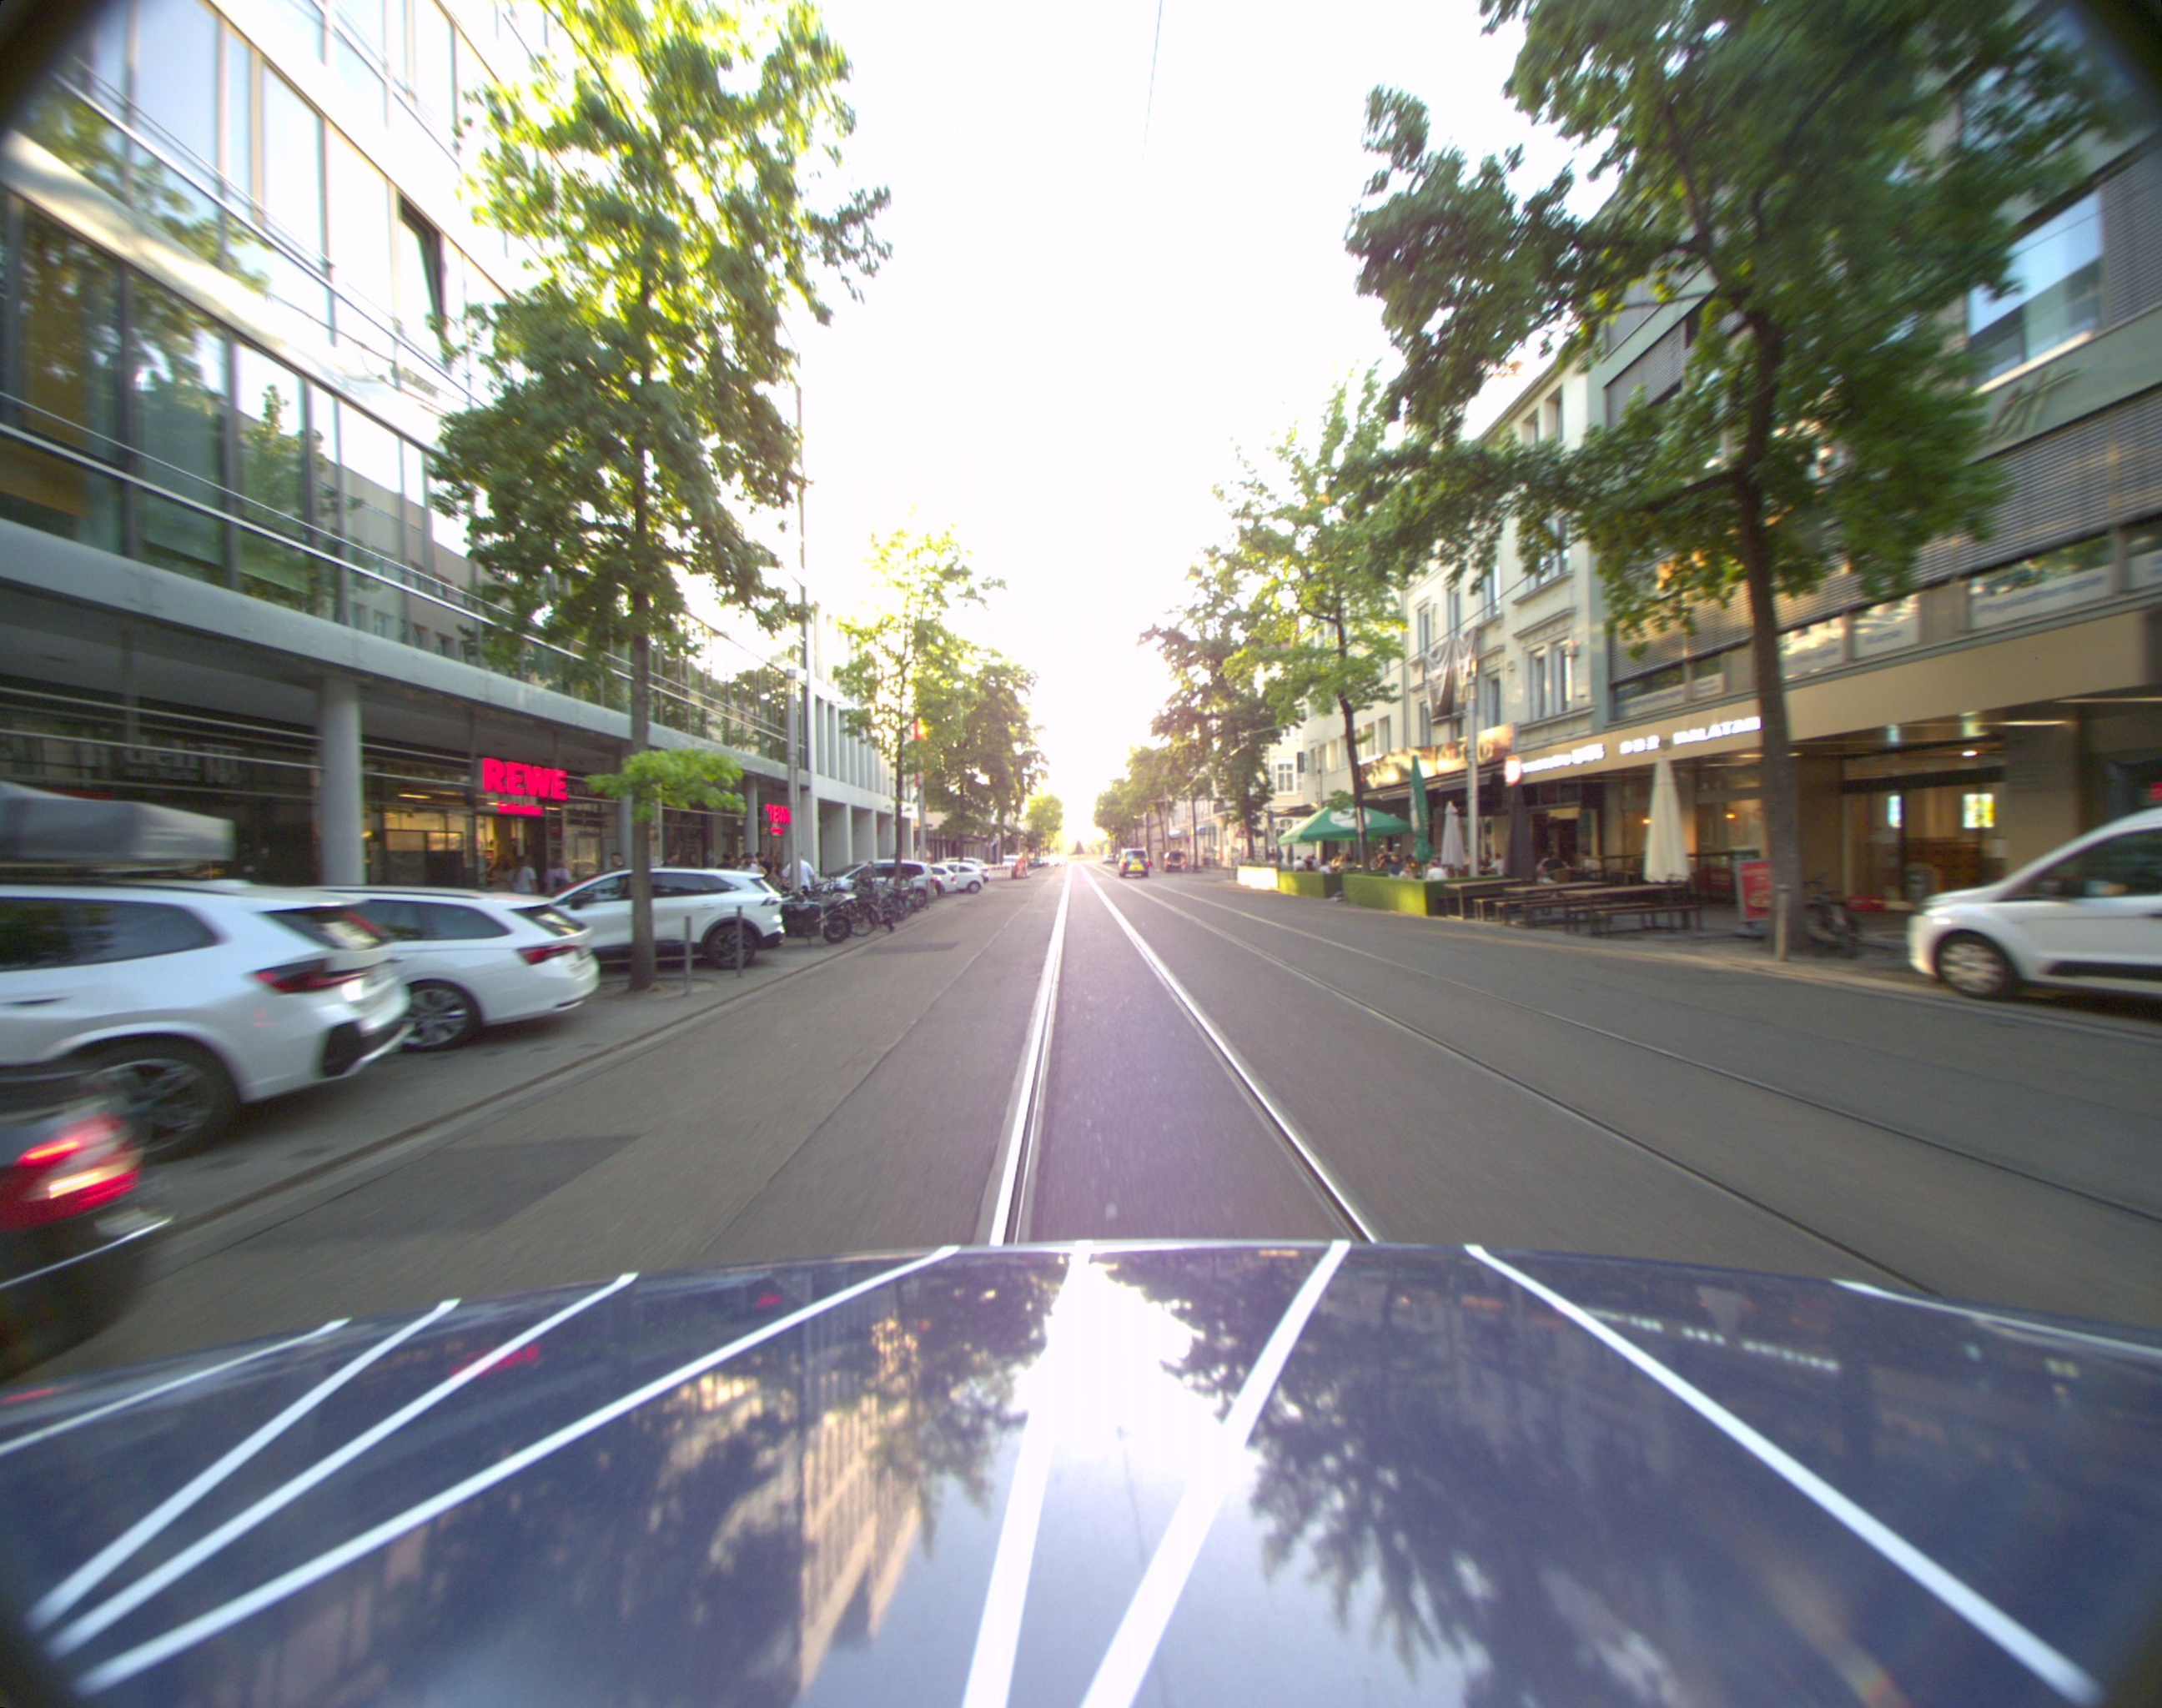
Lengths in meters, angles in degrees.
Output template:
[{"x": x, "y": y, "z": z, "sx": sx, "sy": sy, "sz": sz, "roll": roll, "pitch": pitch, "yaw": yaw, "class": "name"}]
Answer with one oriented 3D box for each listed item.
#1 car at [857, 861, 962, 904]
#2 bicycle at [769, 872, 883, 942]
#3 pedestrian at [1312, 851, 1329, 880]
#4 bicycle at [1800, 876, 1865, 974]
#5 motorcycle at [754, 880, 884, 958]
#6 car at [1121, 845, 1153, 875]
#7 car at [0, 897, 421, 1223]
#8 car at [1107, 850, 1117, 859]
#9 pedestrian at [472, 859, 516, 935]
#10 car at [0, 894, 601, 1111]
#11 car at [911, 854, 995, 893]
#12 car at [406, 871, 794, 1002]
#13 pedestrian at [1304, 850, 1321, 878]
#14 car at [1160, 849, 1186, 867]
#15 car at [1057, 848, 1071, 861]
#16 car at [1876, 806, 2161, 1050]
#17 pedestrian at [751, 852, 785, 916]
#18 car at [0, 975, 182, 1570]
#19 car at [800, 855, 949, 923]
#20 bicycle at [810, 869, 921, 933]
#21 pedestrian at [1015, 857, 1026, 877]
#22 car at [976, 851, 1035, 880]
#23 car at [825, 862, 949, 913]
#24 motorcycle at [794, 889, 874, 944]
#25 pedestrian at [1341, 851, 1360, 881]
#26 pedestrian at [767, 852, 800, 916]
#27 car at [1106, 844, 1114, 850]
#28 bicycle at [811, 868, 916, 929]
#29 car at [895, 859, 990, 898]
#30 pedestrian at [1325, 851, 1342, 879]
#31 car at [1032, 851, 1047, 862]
[{"x": -7.389, "y": 1.210, "z": 32.847, "sx": 4.005, "sy": 1.501, "sz": 1.796, "roll": -4, "pitch": 1, "yaw": -30, "class": "car"}, {"x": -6.183, "y": 1.254, "z": 18.481, "sx": 2.492, "sy": 1.448, "sz": 0.656, "roll": -4, "pitch": 1, "yaw": -25, "class": "bicycle"}, {"x": 12.287, "y": 0.591, "z": 39.030, "sx": 0.650, "sy": 1.451, "sz": 0.650, "roll": -1, "pitch": 1, "yaw": -2, "class": "pedestrian"}, {"x": 9.808, "y": 0.870, "z": 9.902, "sx": 1.803, "sy": 1.101, "sz": 0.499, "roll": -2, "pitch": 1, "yaw": -42, "class": "bicycle"}, {"x": -5.100, "y": 1.213, "z": 14.886, "sx": 1.153, "sy": 1.346, "sz": 2.115, "roll": 1, "pitch": 0, "yaw": 41, "class": "motorcycle"}, {"x": 3.914, "y": 0.406, "z": 53.743, "sx": 1.998, "sy": 2.002, "sz": 4.000, "roll": -1, "pitch": 0, "yaw": 0, "class": "car"}, {"x": -6.936, "y": 1.112, "z": 4.241, "sx": 4.646, "sy": 1.619, "sz": 1.914, "roll": 1, "pitch": -2, "yaw": -32, "class": "car"}, {"x": 5.662, "y": 0.072, "z": 139.582, "sx": 1.799, "sy": 1.501, "sz": 4.000, "roll": -1, "pitch": 0, "yaw": 0, "class": "car"}, {"x": -13.406, "y": 0.973, "z": 17.369, "sx": 0.629, "sy": 1.681, "sz": 0.557, "roll": -1, "pitch": 1, "yaw": -23, "class": "pedestrian"}, {"x": -7.233, "y": 1.166, "z": 6.942, "sx": 4.644, "sy": 1.431, "sz": 1.914, "roll": 1, "pitch": 0, "yaw": -27, "class": "car"}, {"x": -6.927, "y": 1.047, "z": 41.106, "sx": 4.004, "sy": 1.776, "sz": 1.861, "roll": -4, "pitch": 1, "yaw": -24, "class": "car"}, {"x": -7.031, "y": 1.074, "z": 11.573, "sx": 4.646, "sy": 1.578, "sz": 1.913, "roll": 1, "pitch": 0, "yaw": -35, "class": "car"}, {"x": 12.483, "y": 0.545, "z": 40.949, "sx": 0.650, "sy": 1.451, "sz": 0.650, "roll": -1, "pitch": 1, "yaw": -2, "class": "pedestrian"}, {"x": 8.096, "y": 0.333, "z": 67.352, "sx": 1.799, "sy": 1.501, "sz": 4.000, "roll": -1, "pitch": 0, "yaw": 0, "class": "car"}, {"x": -2.690, "y": 0.124, "z": 120.588, "sx": 1.998, "sy": 2.002, "sz": 4.000, "roll": -1, "pitch": 0, "yaw": 0, "class": "car"}, {"x": 9.112, "y": 0.528, "z": 5.654, "sx": 1.830, "sy": 1.811, "sz": 4.329, "roll": -4, "pitch": 0, "yaw": 1, "class": "car"}, {"x": -8.368, "y": 0.797, "z": 20.354, "sx": 0.618, "sy": 1.681, "sz": 0.628, "roll": 0, "pitch": 1, "yaw": 0, "class": "pedestrian"}, {"x": -4.509, "y": 1.208, "z": 0.601, "sx": 1.795, "sy": 1.400, "sz": 4.573, "roll": -3, "pitch": 0, "yaw": 29, "class": "car"}, {"x": -7.015, "y": 1.139, "z": 26.031, "sx": 4.474, "sy": 1.869, "sz": 1.796, "roll": -4, "pitch": 1, "yaw": -37, "class": "car"}, {"x": -5.731, "y": 1.214, "z": 20.281, "sx": 2.677, "sy": 1.448, "sz": 0.728, "roll": -4, "pitch": 1, "yaw": -27, "class": "bicycle"}, {"x": -4.537, "y": 0.947, "z": 56.997, "sx": 0.650, "sy": 1.451, "sz": 0.649, "roll": -2, "pitch": 1, "yaw": -17, "class": "pedestrian"}, {"x": -5.329, "y": 0.796, "z": 53.977, "sx": 1.860, "sy": 1.776, "sz": 4.007, "roll": -3, "pitch": 1, "yaw": 34, "class": "car"}, {"x": -7.179, "y": 1.199, "z": 28.348, "sx": 4.006, "sy": 1.501, "sz": 1.796, "roll": -4, "pitch": 1, "yaw": -37, "class": "car"}, {"x": -5.329, "y": 1.332, "z": 16.377, "sx": 1.574, "sy": 1.093, "sz": 0.627, "roll": 1, "pitch": 1, "yaw": -25, "class": "motorcycle"}, {"x": 13.115, "y": 0.585, "z": 37.000, "sx": 0.650, "sy": 1.451, "sz": 0.650, "roll": -1, "pitch": 1, "yaw": -2, "class": "pedestrian"}, {"x": -7.957, "y": 0.782, "z": 20.341, "sx": 0.618, "sy": 1.681, "sz": 0.628, "roll": 0, "pitch": 1, "yaw": 0, "class": "pedestrian"}, {"x": 7.093, "y": -1.672, "z": 185.092, "sx": 1.799, "sy": 1.501, "sz": 4.000, "roll": -1, "pitch": 0, "yaw": 0, "class": "car"}, {"x": -6.112, "y": 1.215, "z": 21.386, "sx": 2.677, "sy": 1.448, "sz": 0.675, "roll": -4, "pitch": 1, "yaw": -26, "class": "bicycle"}, {"x": -6.634, "y": 1.141, "z": 36.395, "sx": 4.005, "sy": 1.501, "sz": 1.861, "roll": -4, "pitch": 1, "yaw": -30, "class": "car"}, {"x": 12.990, "y": 0.565, "z": 39.090, "sx": 0.650, "sy": 1.451, "sz": 0.650, "roll": -1, "pitch": 1, "yaw": -2, "class": "pedestrian"}, {"x": -5.953, "y": 0.344, "z": 108.715, "sx": 1.793, "sy": 1.499, "sz": 3.999, "roll": -2, "pitch": 1, "yaw": 0, "class": "car"}]
